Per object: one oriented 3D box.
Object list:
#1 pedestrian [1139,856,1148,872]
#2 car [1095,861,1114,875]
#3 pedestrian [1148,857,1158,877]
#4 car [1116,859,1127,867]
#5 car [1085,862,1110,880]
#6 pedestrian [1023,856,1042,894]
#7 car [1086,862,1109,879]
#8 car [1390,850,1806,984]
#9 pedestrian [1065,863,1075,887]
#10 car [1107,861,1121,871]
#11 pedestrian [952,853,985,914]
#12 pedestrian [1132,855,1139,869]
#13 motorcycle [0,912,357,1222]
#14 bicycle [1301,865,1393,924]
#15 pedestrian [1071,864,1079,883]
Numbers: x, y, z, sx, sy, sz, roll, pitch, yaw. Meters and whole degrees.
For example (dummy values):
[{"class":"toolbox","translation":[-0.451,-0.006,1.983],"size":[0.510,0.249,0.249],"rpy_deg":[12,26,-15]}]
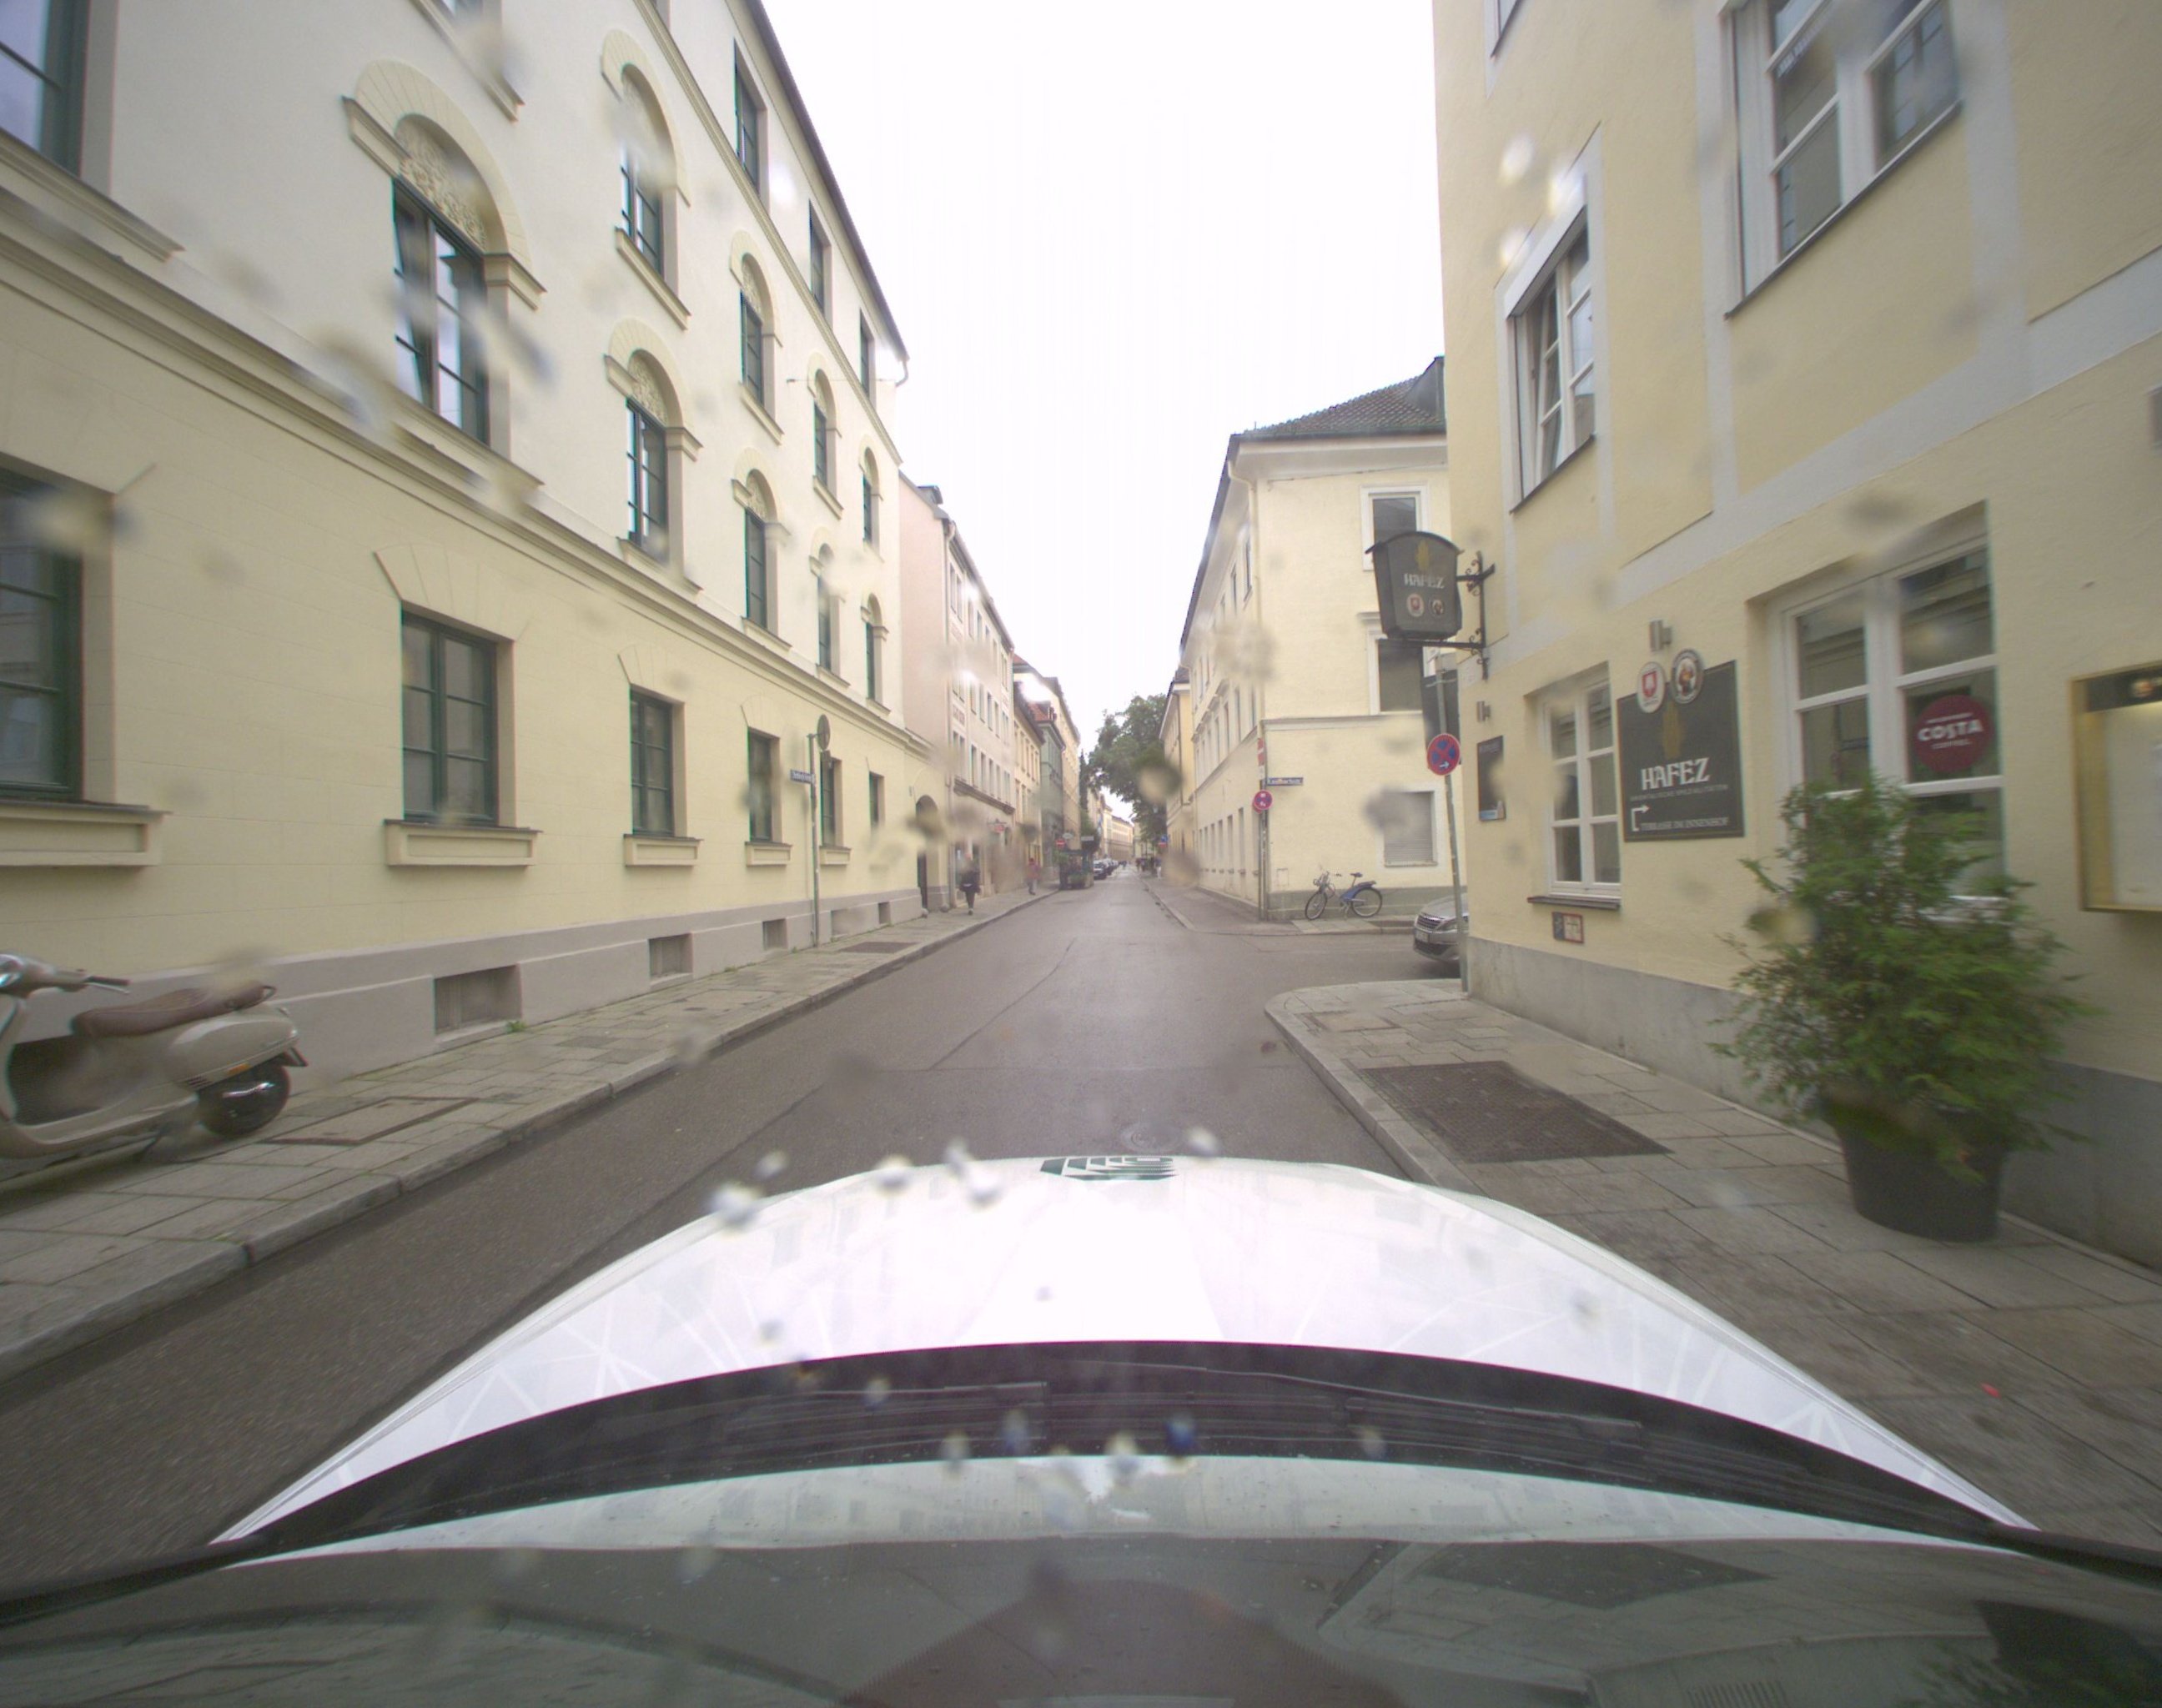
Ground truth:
[{"class":"pedestrian","translation":[7.479,1.198,97.730],"size":[1.011,1.802,1.350],"rpy_deg":[0,-1,4]},{"class":"car","translation":[2.545,1.468,86.987],"size":[1.770,1.466,3.547],"rpy_deg":[0,-1,6]},{"class":"pedestrian","translation":[6.548,1.197,74.346],"size":[0.876,1.802,1.047],"rpy_deg":[0,-1,4]},{"class":"car","translation":[7.253,1.567,145.881],"size":[1.770,1.466,3.547],"rpy_deg":[0,-1,6]},{"class":"car","translation":[1.415,1.397,67.443],"size":[1.770,1.466,3.668],"rpy_deg":[0,-1,6]},{"class":"pedestrian","translation":[-2.227,0.976,37.709],"size":[0.763,1.708,0.785],"rpy_deg":[-2,-1,1]},{"class":"car","translation":[1.492,1.424,72.050],"size":[1.770,1.466,3.547],"rpy_deg":[0,-1,6]},{"class":"car","translation":[6.111,0.712,10.044],"size":[3.996,1.440,1.767],"rpy_deg":[-1,2,4]},{"class":"pedestrian","translation":[-0.617,1.180,45.913],"size":[0.508,1.327,0.631],"rpy_deg":[0,-1,1]},{"class":"car","translation":[4.797,1.690,116.666],"size":[1.770,1.466,3.547],"rpy_deg":[0,-1,6]},{"class":"pedestrian","translation":[-3.316,0.849,24.073],"size":[0.806,1.755,0.990],"rpy_deg":[-1,1,1]},{"class":"pedestrian","translation":[7.015,1.048,104.902],"size":[0.790,1.802,0.904],"rpy_deg":[0,-1,4]},{"class":"motorcycle","translation":[-4.708,0.934,4.060],"size":[0.599,1.174,1.710],"rpy_deg":[-1,-1,3]},{"class":"bicycle","translation":[5.611,0.853,17.227],"size":[1.750,1.144,0.586],"rpy_deg":[-2,2,3]},{"class":"pedestrian","translation":[-0.407,1.258,53.327],"size":[0.508,1.237,0.631],"rpy_deg":[0,-1,1]}]
